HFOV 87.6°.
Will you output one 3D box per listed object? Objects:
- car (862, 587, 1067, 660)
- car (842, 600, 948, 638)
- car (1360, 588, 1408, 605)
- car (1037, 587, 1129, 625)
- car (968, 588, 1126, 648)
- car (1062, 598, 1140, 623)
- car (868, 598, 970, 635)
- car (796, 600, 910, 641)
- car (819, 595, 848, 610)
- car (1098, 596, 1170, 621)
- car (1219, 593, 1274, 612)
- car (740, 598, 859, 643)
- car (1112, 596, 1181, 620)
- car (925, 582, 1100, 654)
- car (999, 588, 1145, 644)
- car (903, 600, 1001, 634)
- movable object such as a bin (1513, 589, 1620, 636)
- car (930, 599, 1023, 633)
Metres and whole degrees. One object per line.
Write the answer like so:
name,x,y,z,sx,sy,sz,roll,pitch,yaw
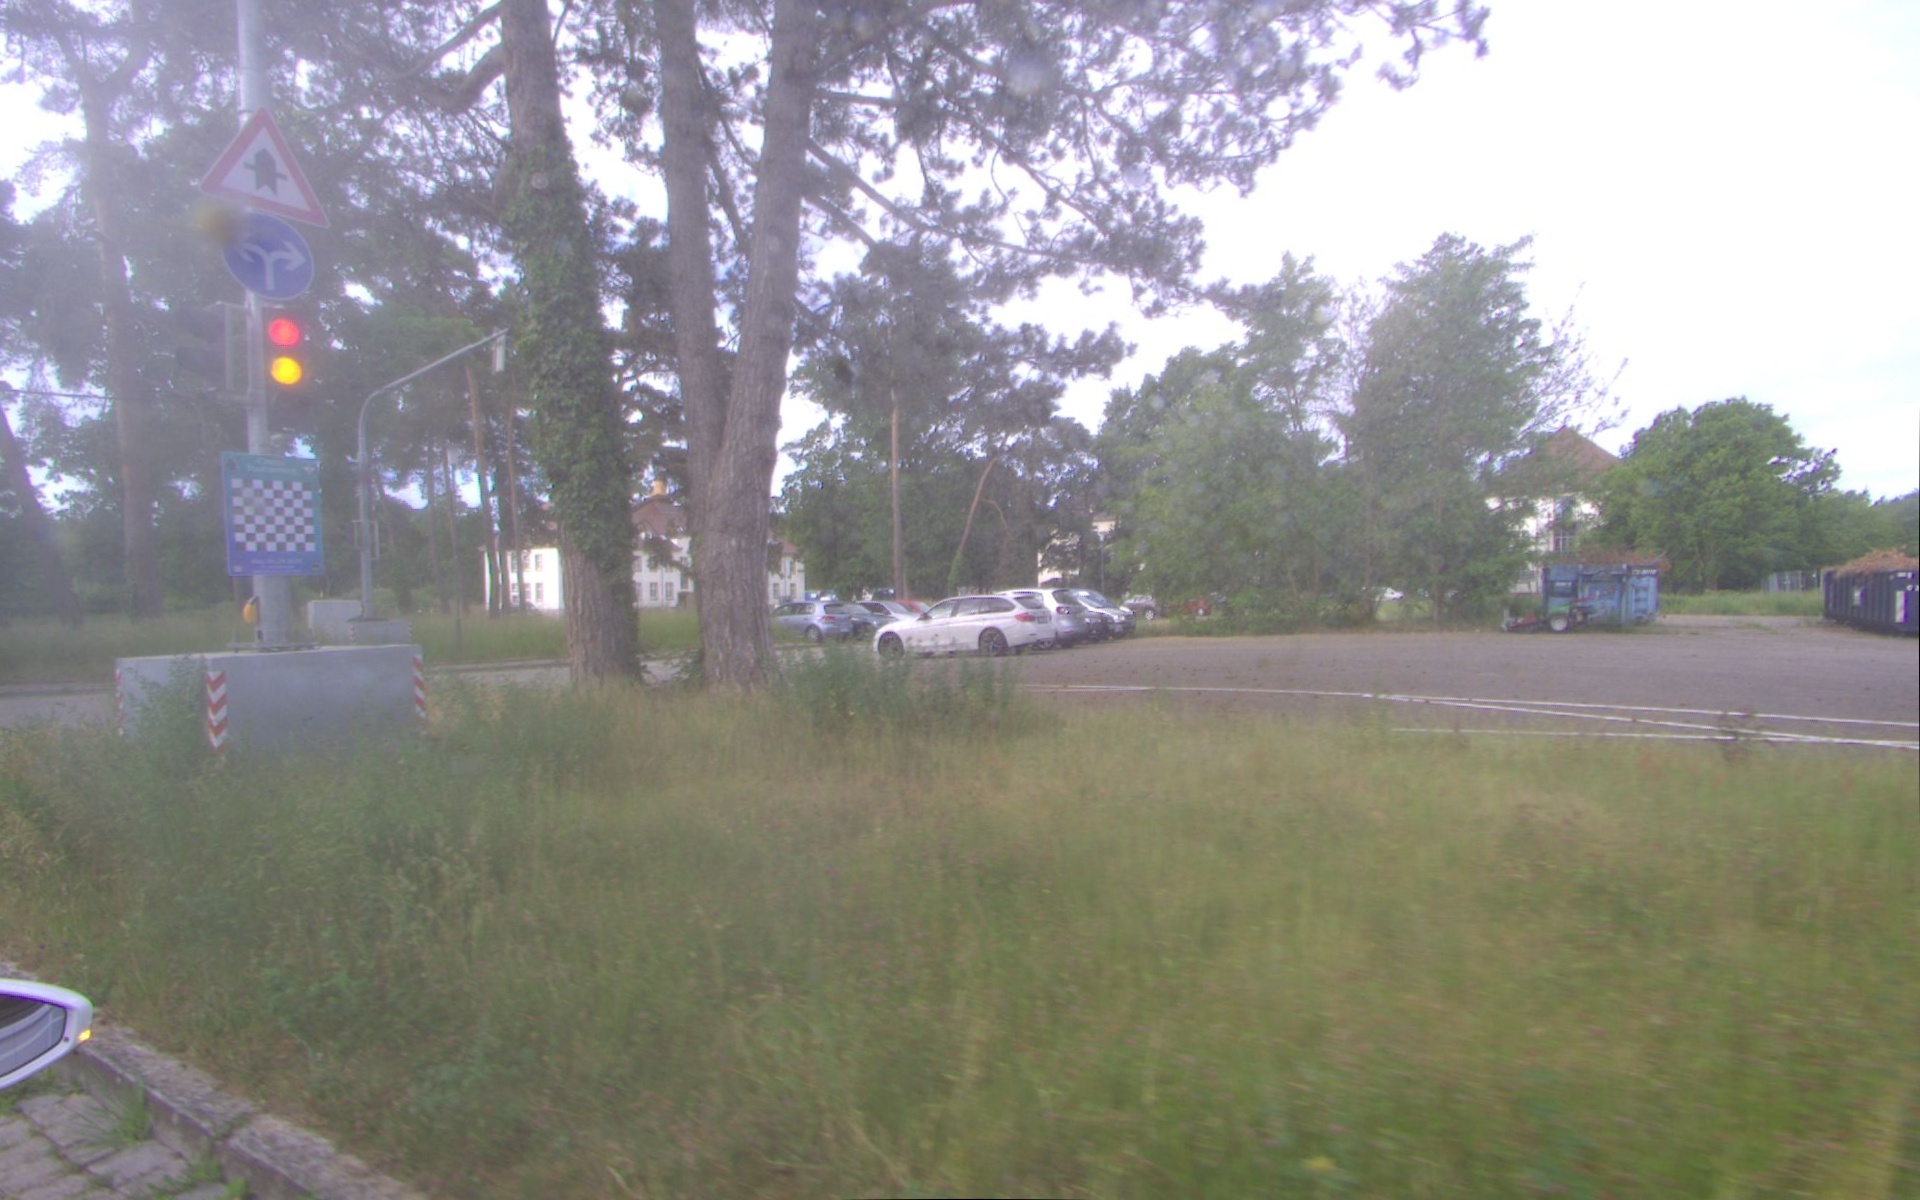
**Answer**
car,0.076,0.595,23.945,4.541,1.505,1.846,-4,-2,29
car,-2.649,0.742,40.397,4.189,1.487,1.727,0,0,38
car,52.766,-0.454,124.615,5.222,1.980,2.079,-1,-1,33
car,6.886,0.342,56.170,4.724,2.053,2.131,0,0,33
car,2.459,0.525,28.666,4.186,1.504,1.697,-4,-1,33
car,8.167,0.611,58.263,4.184,1.409,1.729,0,0,34
car,-1.777,0.684,42.648,4.189,1.487,1.727,0,0,38
car,-4.089,0.760,38.046,4.184,1.487,1.730,0,0,33
car,-17.354,0.338,137.636,1.899,1.929,4.057,-1,-1,29
car,11.059,0.519,63.722,4.182,1.541,1.730,0,0,32
car,24.262,0.210,84.766,4.182,1.541,1.730,0,0,32
car,-5.807,0.707,36.020,4.184,1.529,1.730,0,0,33
car,12.334,0.504,66.221,4.182,1.541,1.730,0,0,32
car,1.348,0.490,26.262,4.181,1.626,1.779,-4,-1,29
car,3.472,0.506,31.262,4.186,1.504,1.697,-4,-1,33
car,-0.381,0.739,44.517,4.189,1.409,1.727,0,0,38
movable object such as a bin,15.263,0.325,25.272,2.176,1.149,0.960,-1,-1,23
car,0.731,0.727,46.912,4.189,1.492,1.727,0,0,38
